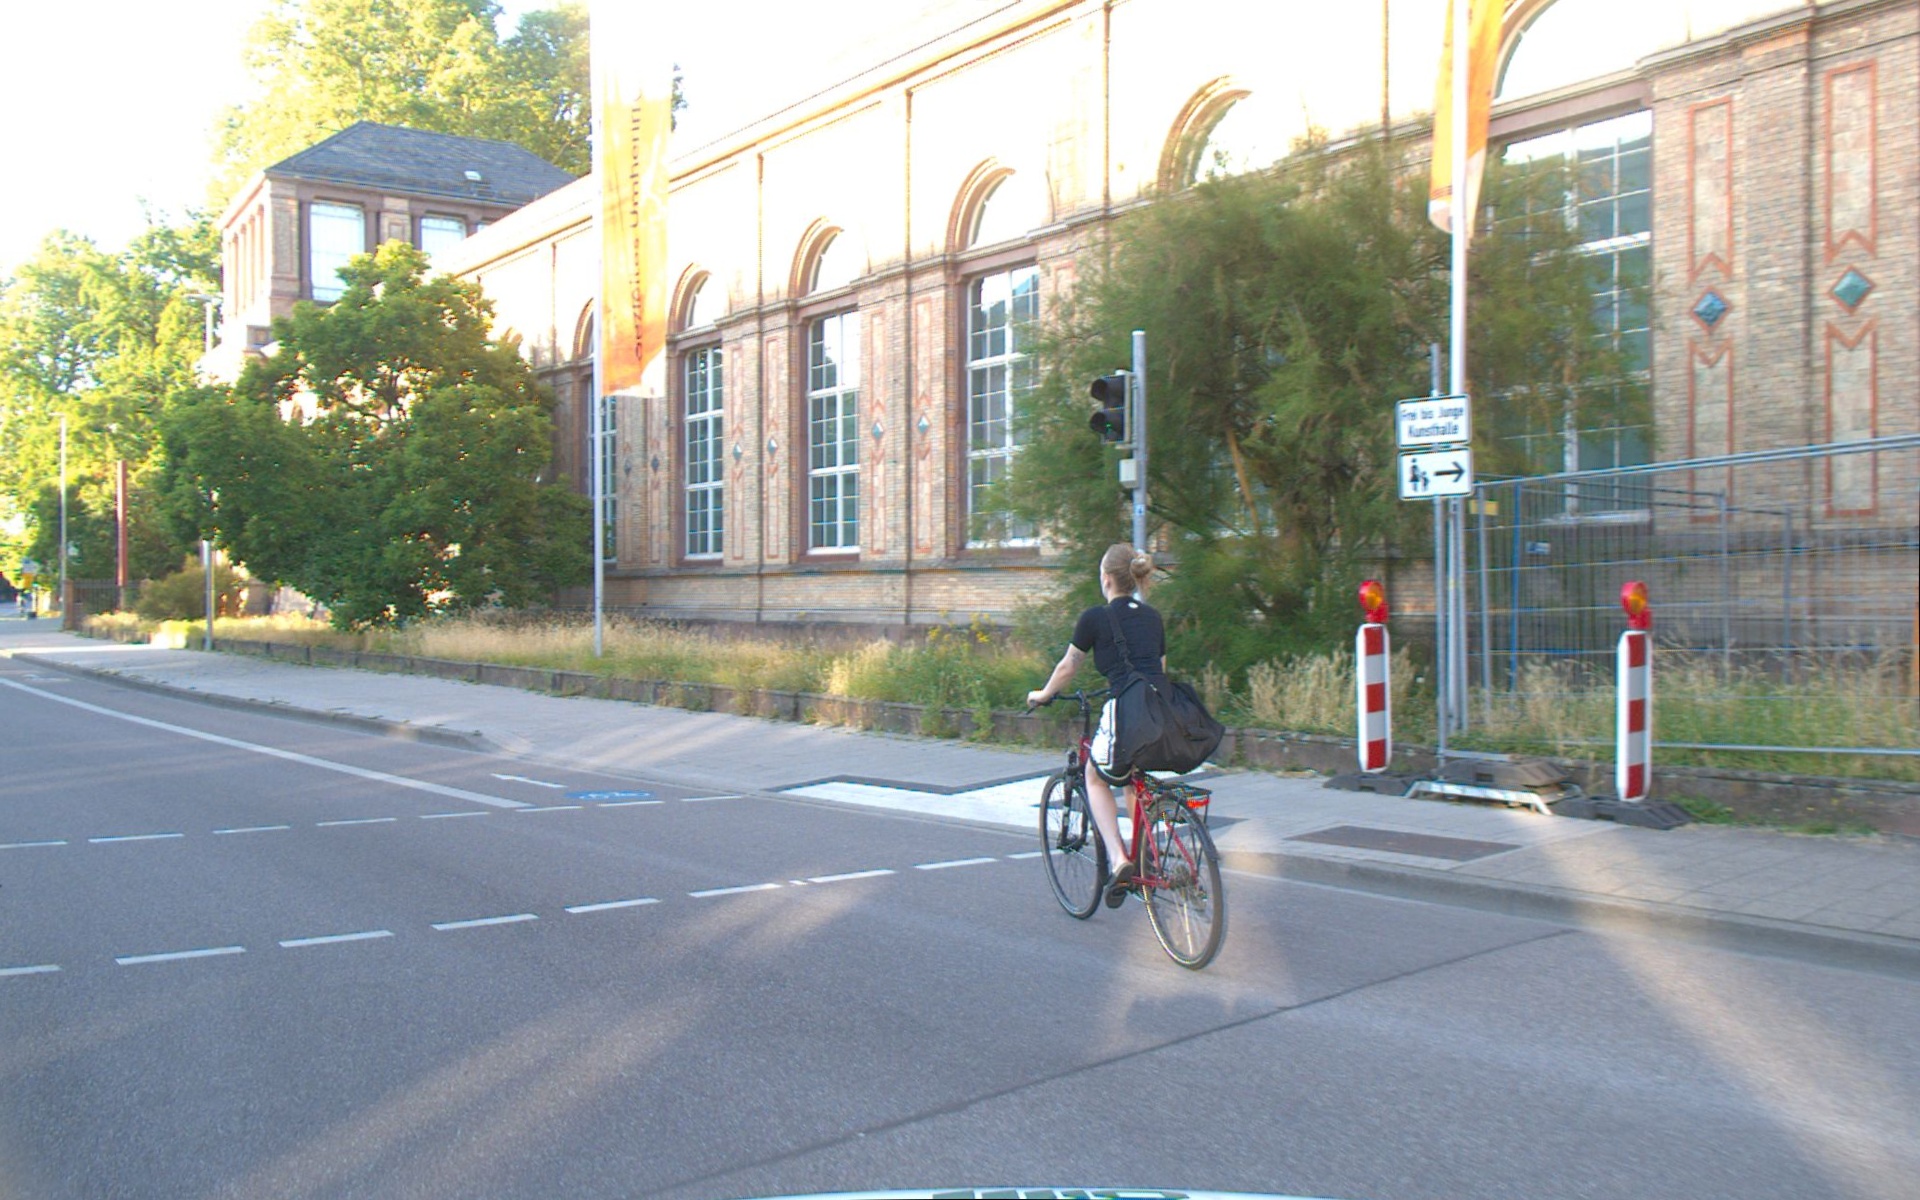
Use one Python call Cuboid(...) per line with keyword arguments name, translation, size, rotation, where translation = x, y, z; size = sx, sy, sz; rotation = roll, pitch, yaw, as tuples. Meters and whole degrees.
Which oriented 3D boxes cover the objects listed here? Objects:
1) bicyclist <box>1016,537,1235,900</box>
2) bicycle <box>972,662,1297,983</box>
Cuboid(name="bicyclist", translation=(0.729, 0.506, 7.483), size=(0.705, 1.529, 0.846), rotation=(1, -1, -18))
Cuboid(name="bicycle", translation=(0.706, 0.903, 7.506), size=(0.700, 1.176, 2.058), rotation=(1, -1, -18))
